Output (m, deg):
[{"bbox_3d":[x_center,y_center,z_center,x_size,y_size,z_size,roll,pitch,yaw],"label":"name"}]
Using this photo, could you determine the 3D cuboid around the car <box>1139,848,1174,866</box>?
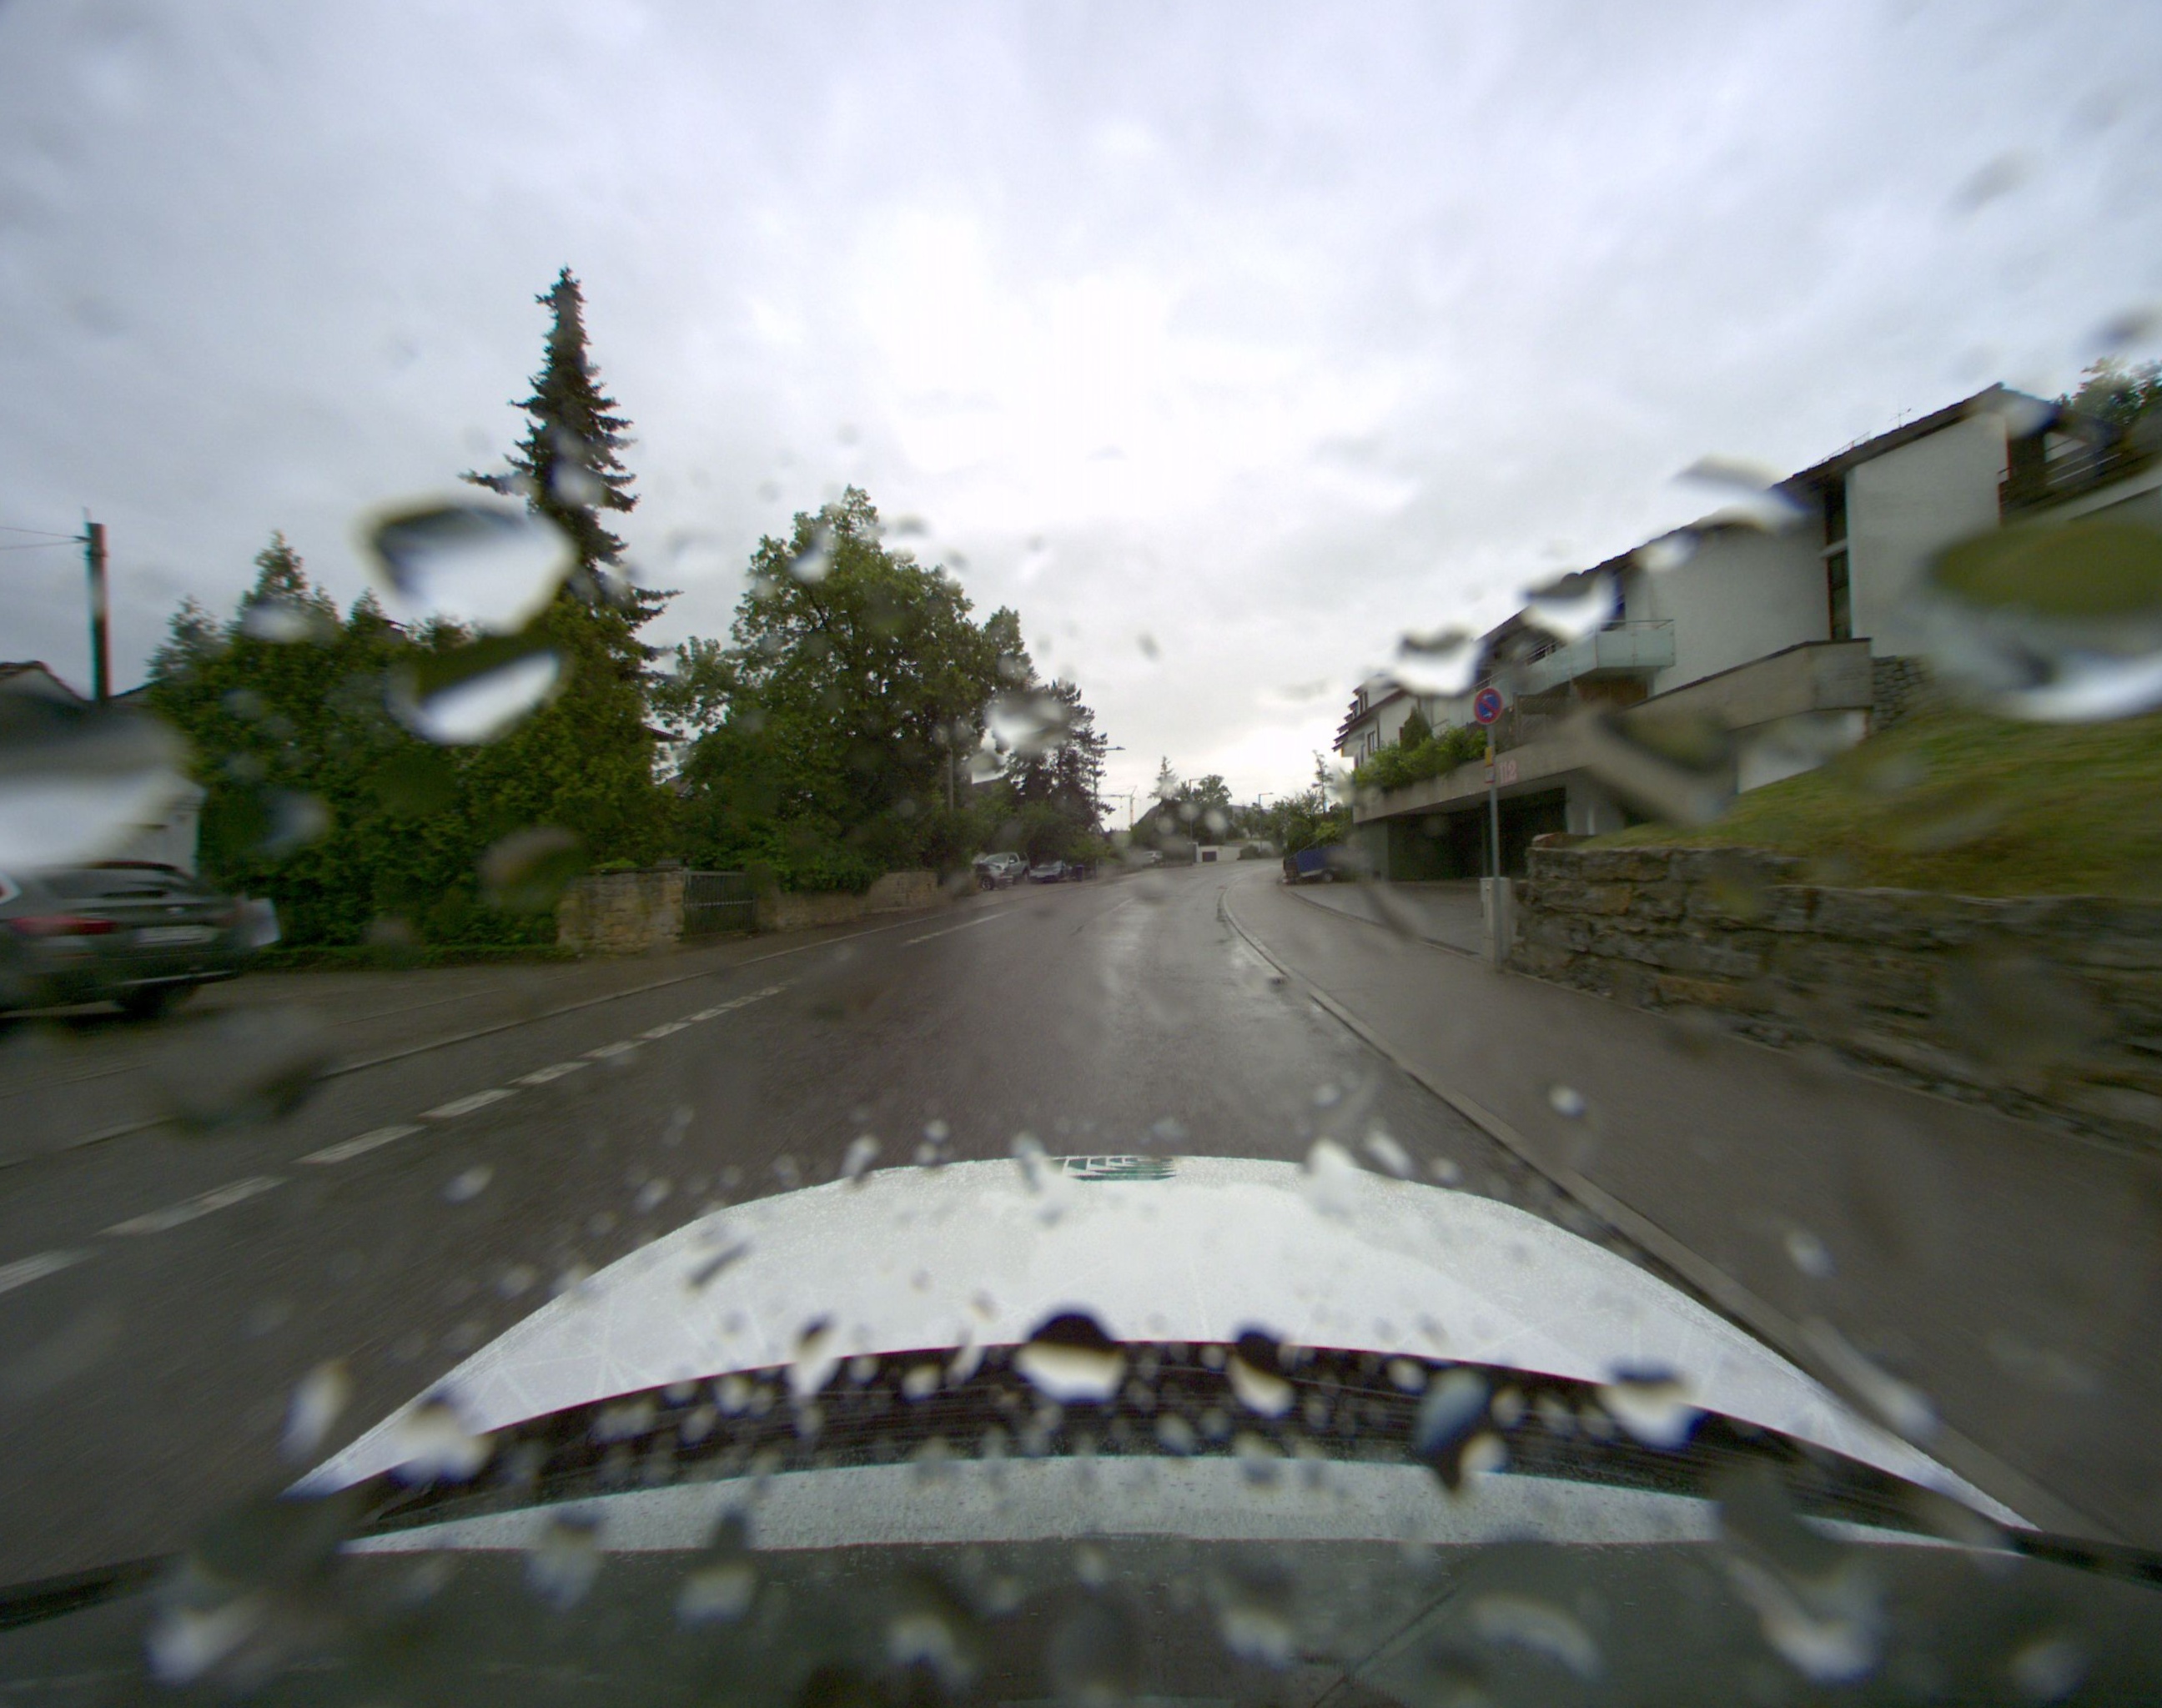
[{"bbox_3d":[6.984,0.236,74.984,1.718,1.551,4.024,-2,0,27],"label":"car"}]

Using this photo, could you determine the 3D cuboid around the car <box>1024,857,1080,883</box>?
[{"bbox_3d":[-1.630,0.910,47.294,1.979,1.307,4.452,-2,0,15],"label":"car"}]

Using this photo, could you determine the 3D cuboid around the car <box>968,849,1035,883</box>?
[{"bbox_3d":[-4.528,0.648,47.497,1.979,1.844,5.501,-2,0,15],"label":"car"}]

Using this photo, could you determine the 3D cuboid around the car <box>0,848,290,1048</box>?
[{"bbox_3d":[-9.925,0.730,6.865,4.530,1.476,1.837,-1,0,-3],"label":"car"}]

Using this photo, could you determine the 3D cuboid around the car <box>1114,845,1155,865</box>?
[{"bbox_3d":[5.333,0.108,81.228,2.008,1.838,3.957,-2,0,-35],"label":"car"}]

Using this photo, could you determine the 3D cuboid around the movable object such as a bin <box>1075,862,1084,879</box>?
[{"bbox_3d":[-0.106,0.942,46.453,0.368,0.988,0.560,-2,0,12],"label":"movable object such as a bin"}]

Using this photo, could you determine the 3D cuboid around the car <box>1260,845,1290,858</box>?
[{"bbox_3d":[26.194,-0.335,109.908,4.413,1.553,1.690,-2,1,-42],"label":"car"}]

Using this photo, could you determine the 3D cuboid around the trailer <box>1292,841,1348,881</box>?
[{"bbox_3d":[11.127,0.335,38.092,2.338,1.748,2.006,-2,0,11],"label":"trailer"}]

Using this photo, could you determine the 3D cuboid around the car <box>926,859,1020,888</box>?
[{"bbox_3d":[-5.093,0.921,38.571,3.954,1.271,1.883,-1,0,18],"label":"car"}]
